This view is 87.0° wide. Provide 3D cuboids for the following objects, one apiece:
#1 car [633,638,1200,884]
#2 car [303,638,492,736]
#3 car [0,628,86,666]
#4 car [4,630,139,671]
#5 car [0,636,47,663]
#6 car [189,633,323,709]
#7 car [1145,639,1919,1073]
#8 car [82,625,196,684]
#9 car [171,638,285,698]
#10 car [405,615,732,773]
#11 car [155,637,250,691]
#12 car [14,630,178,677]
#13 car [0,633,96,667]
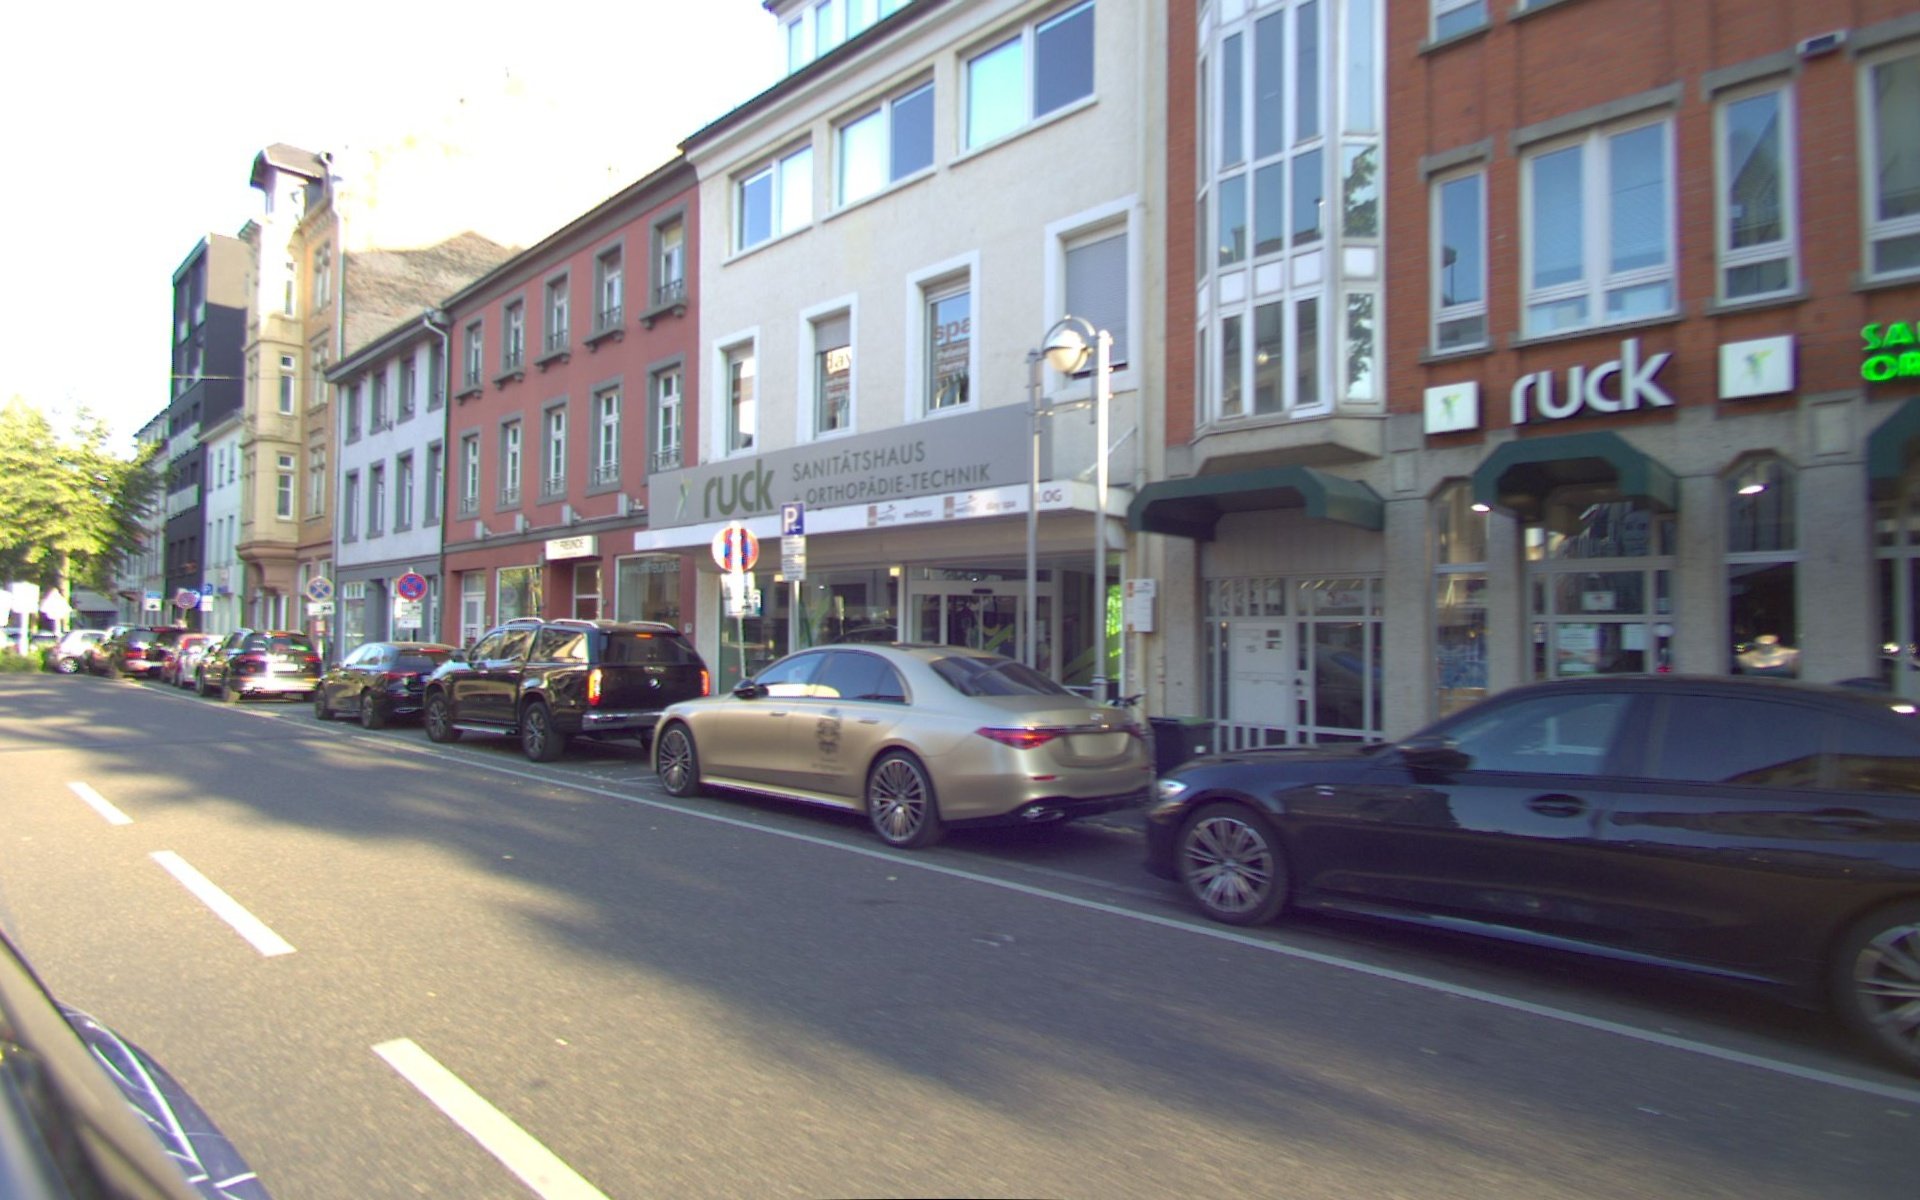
[{"bbox_3d":[-0.669,1.121,8.851,5.114,1.522,1.971,-2,-4,44],"label":"car"},{"bbox_3d":[-10.127,1.471,18.092,4.218,1.522,1.746,-2,-4,44],"label":"car"},{"bbox_3d":[-50.013,2.551,54.422,2.053,1.998,4.140,-1,-4,38],"label":"car"},{"bbox_3d":[-36.703,2.110,41.872,1.957,1.594,3.862,-1,-4,38],"label":"car"},{"bbox_3d":[-59.265,3.007,62.235,2.045,1.640,4.158,-1,-3,25],"label":"car"},{"bbox_3d":[-16.638,1.611,23.848,4.218,1.626,1.746,-2,-4,44],"label":"car"},{"bbox_3d":[3.394,0.978,4.919,4.638,1.522,1.894,-2,-4,43],"label":"car"},{"bbox_3d":[-26.511,1.733,32.629,4.214,1.766,2.029,-2,-4,40],"label":"car"},{"bbox_3d":[-19.627,1.770,27.084,3.868,1.475,1.746,-2,-4,44],"label":"car"},{"bbox_3d":[-5.570,1.167,13.979,5.297,1.783,1.972,-2,-4,42],"label":"car"},{"bbox_3d":[-22.426,1.858,29.923,3.543,1.475,1.666,-2,-4,44],"label":"car"},{"bbox_3d":[-31.164,1.935,36.609,2.053,1.594,4.140,-1,-4,38],"label":"car"},{"bbox_3d":[-46.256,2.516,50.800,1.995,1.689,4.079,-2,-4,39],"label":"car"}]
